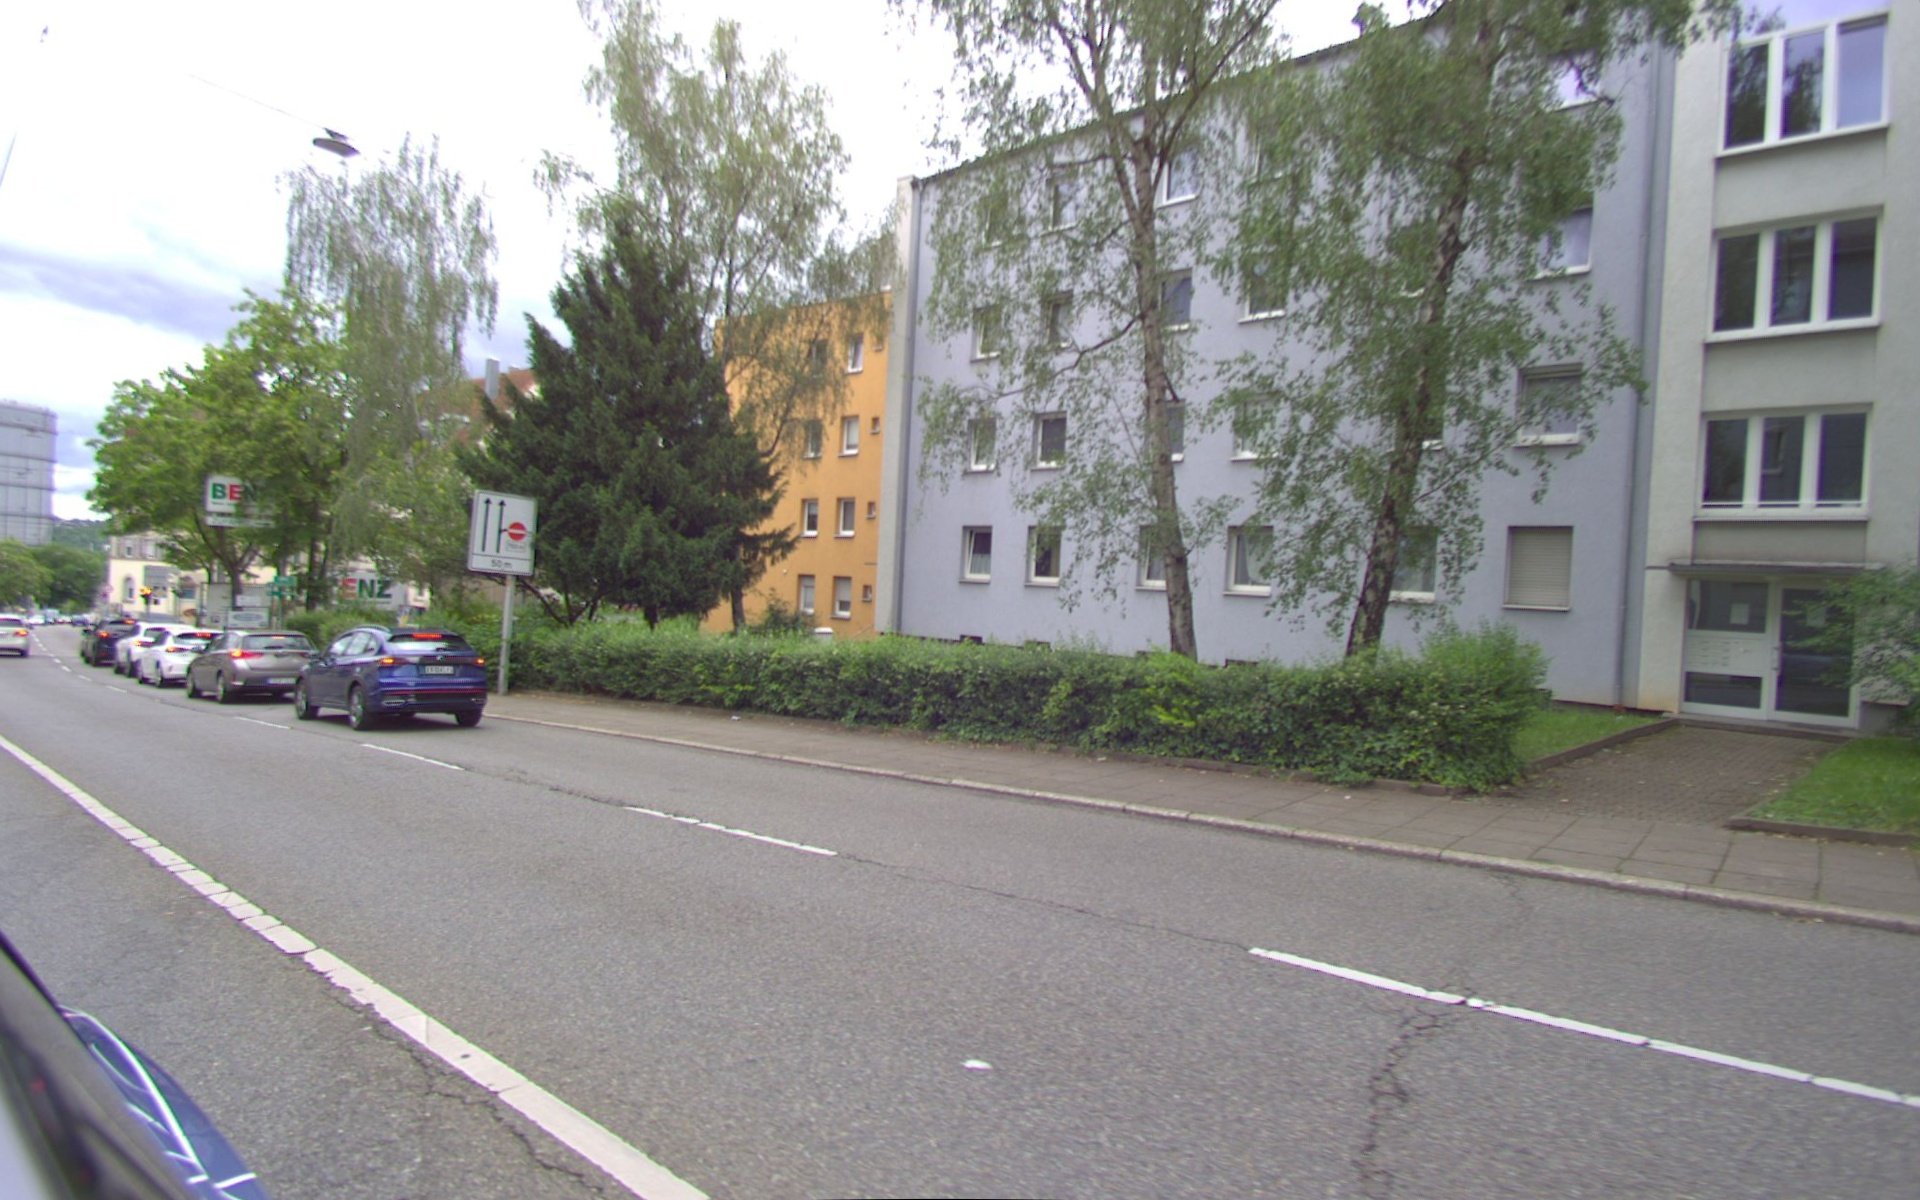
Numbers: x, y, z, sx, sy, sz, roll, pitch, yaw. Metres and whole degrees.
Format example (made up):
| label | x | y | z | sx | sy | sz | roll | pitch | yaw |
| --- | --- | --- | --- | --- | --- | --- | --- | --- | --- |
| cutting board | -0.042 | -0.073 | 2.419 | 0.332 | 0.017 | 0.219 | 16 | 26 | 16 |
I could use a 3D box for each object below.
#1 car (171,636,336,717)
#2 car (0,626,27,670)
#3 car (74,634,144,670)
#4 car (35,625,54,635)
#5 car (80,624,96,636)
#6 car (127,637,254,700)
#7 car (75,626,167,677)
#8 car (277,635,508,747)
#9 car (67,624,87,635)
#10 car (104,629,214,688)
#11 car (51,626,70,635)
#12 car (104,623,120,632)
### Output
| label | x | y | z | sx | sy | sz | roll | pitch | yaw |
| --- | --- | --- | --- | --- | --- | --- | --- | --- | --- |
| car | -14.730 | 1.522 | 21.027 | 4.309 | 1.459 | 1.819 | -1 | -3 | 42 |
| car | -36.129 | 1.732 | 37.747 | 1.755 | 1.558 | 4.328 | 5 | -5 | -44 |
| car | -33.733 | 2.042 | 40.078 | 1.780 | 1.291 | 4.240 | 5 | -5 | -43 |
| car | -148.205 | 4.822 | 163.843 | 1.967 | 1.612 | 4.009 | 0 | -1 | -36 |
| car | -144.616 | 5.015 | 167.880 | 1.841 | 1.898 | 4.293 | 5 | -4 | -39 |
| car | -19.684 | 1.722 | 25.829 | 4.073 | 1.423 | 1.819 | -1 | -5 | 43 |
| car | -29.311 | 1.772 | 35.306 | 4.415 | 1.655 | 1.929 | -1 | -5 | 44 |
| car | -9.010 | 1.333 | 15.912 | 4.309 | 1.459 | 1.819 | -1 | -3 | 42 |
| car | -126.826 | 4.254 | 145.407 | 1.731 | 1.458 | 3.760 | 1 | -1 | -36 |
| car | -24.102 | 1.742 | 30.388 | 4.499 | 1.606 | 1.929 | -1 | -5 | 44 |
| car | -155.168 | 5.264 | 174.598 | 1.967 | 1.612 | 4.009 | 0 | -1 | -36 |
| car | -151.326 | 4.949 | 180.691 | 1.967 | 1.612 | 4.009 | 0 | -1 | -36 |
